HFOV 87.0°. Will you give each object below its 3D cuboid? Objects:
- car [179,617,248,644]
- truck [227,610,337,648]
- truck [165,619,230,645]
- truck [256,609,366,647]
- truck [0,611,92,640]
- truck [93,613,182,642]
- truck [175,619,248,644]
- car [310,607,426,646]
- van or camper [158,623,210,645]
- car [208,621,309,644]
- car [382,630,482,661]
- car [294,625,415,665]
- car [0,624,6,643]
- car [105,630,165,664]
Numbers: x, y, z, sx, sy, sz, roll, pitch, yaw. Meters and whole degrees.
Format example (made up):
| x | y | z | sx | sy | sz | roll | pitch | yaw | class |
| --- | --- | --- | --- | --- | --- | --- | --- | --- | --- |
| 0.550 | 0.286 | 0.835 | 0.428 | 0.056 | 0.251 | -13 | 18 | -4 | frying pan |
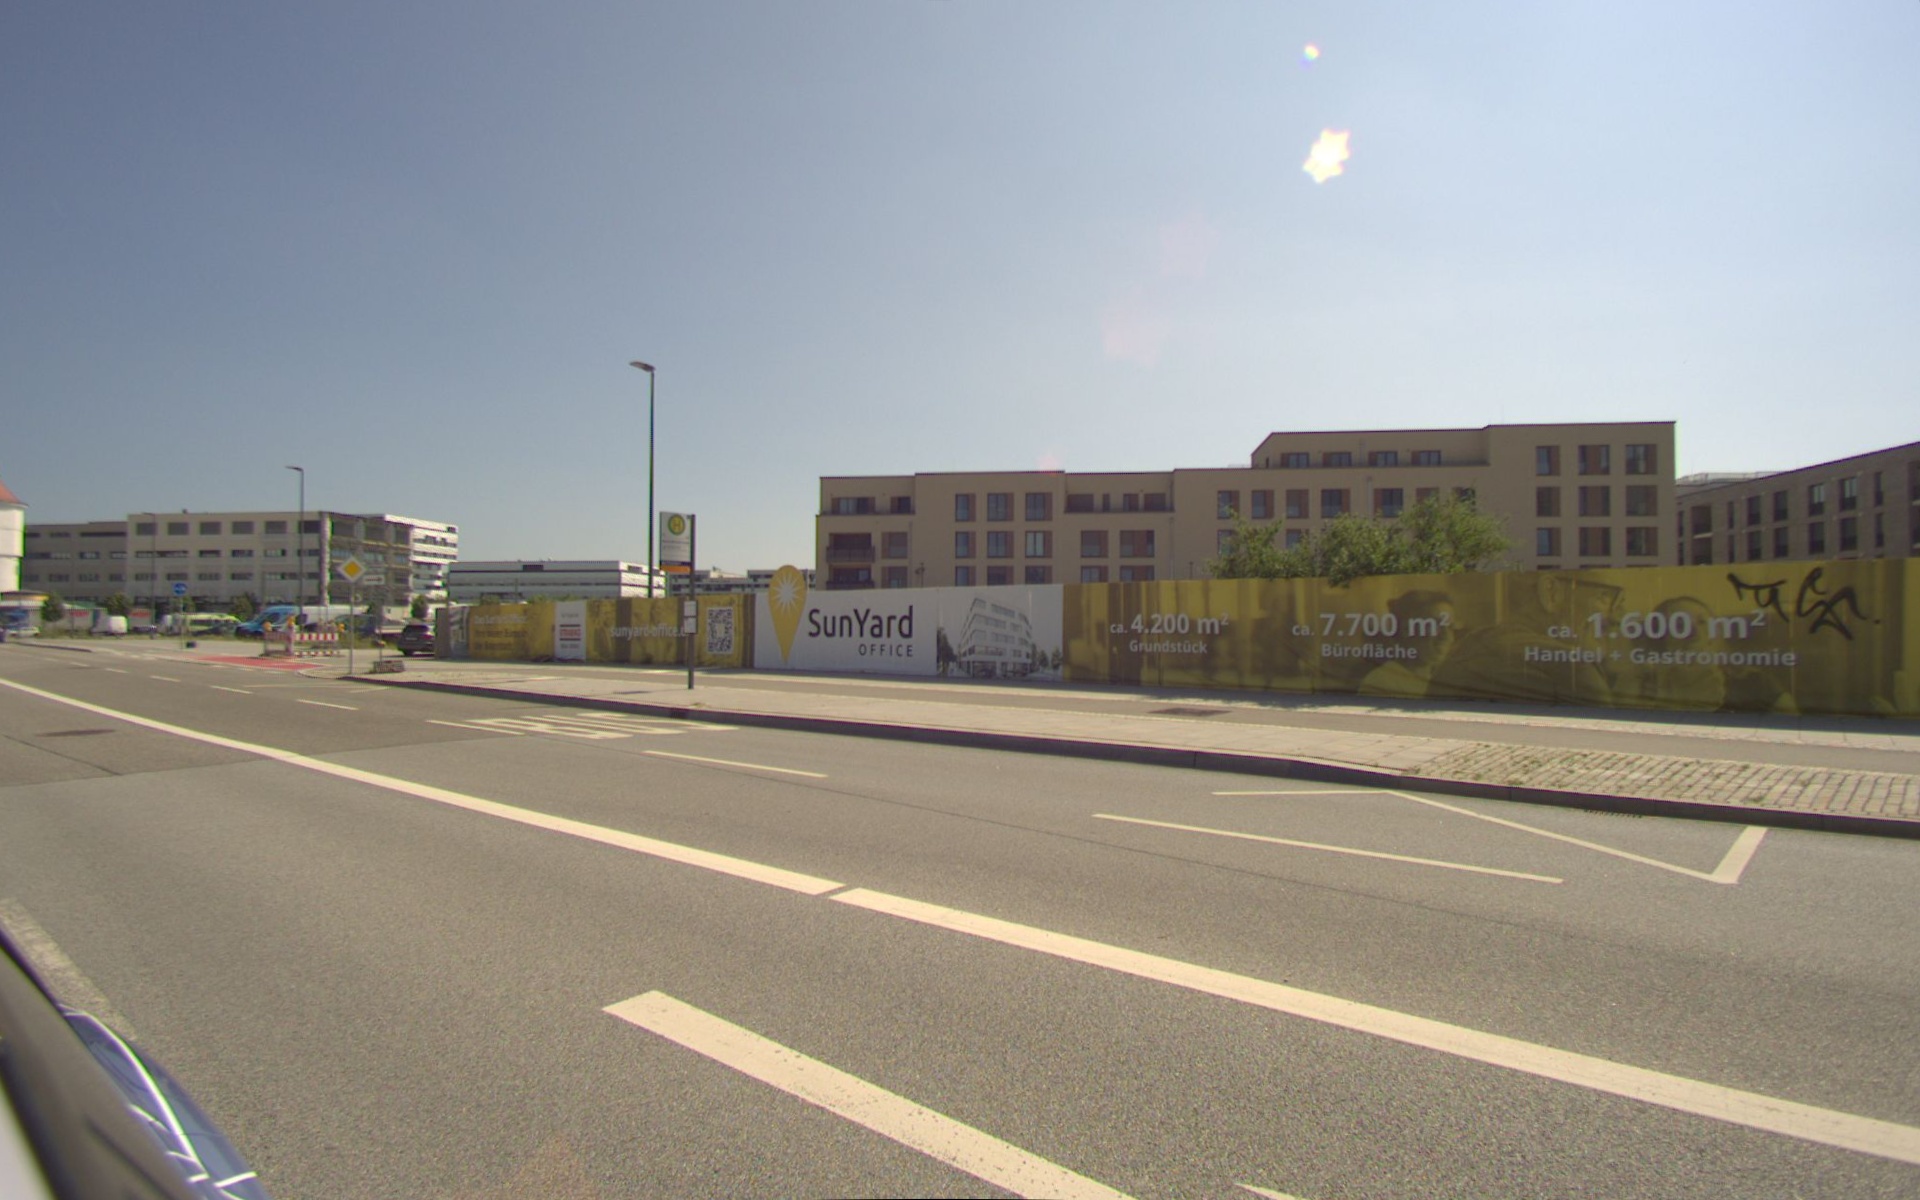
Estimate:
| x | y | z | sx | sy | sz | roll | pitch | yaw | class |
| --- | --- | --- | --- | --- | --- | --- | --- | --- | --- |
| -55.714 | 2.310 | 75.519 | 3.939 | 1.918 | 1.829 | 2 | -3 | -43 | car |
| -47.017 | 2.068 | 70.306 | 2.273 | 2.563 | 5.942 | -2 | -3 | 40 | truck |
| -94.715 | 3.964 | 125.785 | 2.569 | 2.923 | 6.081 | 0 | 0 | 41 | truck |
| -41.874 | 1.850 | 65.409 | 2.272 | 2.381 | 5.512 | -2 | -3 | 39 | truck |
| -138.139 | 3.710 | 152.412 | 3.280 | 4.098 | 10.898 | 0 | 0 | 22 | truck |
| -132.688 | 4.327 | 163.450 | 3.330 | 4.307 | 10.843 | 0 | 0 | 29 | truck |
| -88.959 | 3.698 | 120.339 | 2.599 | 2.847 | 6.573 | -2 | -2 | 37 | truck |
| -34.708 | 1.624 | 59.484 | 2.391 | 2.190 | 5.392 | -2 | -3 | 37 | car |
| -98.189 | 4.305 | 128.084 | 2.258 | 2.682 | 4.850 | -2 | -2 | 40 | van or camper |
| -50.208 | 2.306 | 72.572 | 2.104 | 1.485 | 5.597 | -2 | -2 | 38 | car |
| -23.386 | 2.009 | 45.036 | 1.975 | 1.328 | 4.240 | 0 | -2 | 5 | car |
| -36.593 | 2.690 | 61.320 | 2.394 | 2.182 | 5.821 | -2 | -1 | 41 | car |
| -70.115 | 2.406 | 72.772 | 4.453 | 1.362 | 1.686 | -1 | -3 | 41 | car |
| -39.183 | 2.222 | 48.057 | 3.677 | 1.488 | 1.590 | -1 | -4 | 42 | car |
